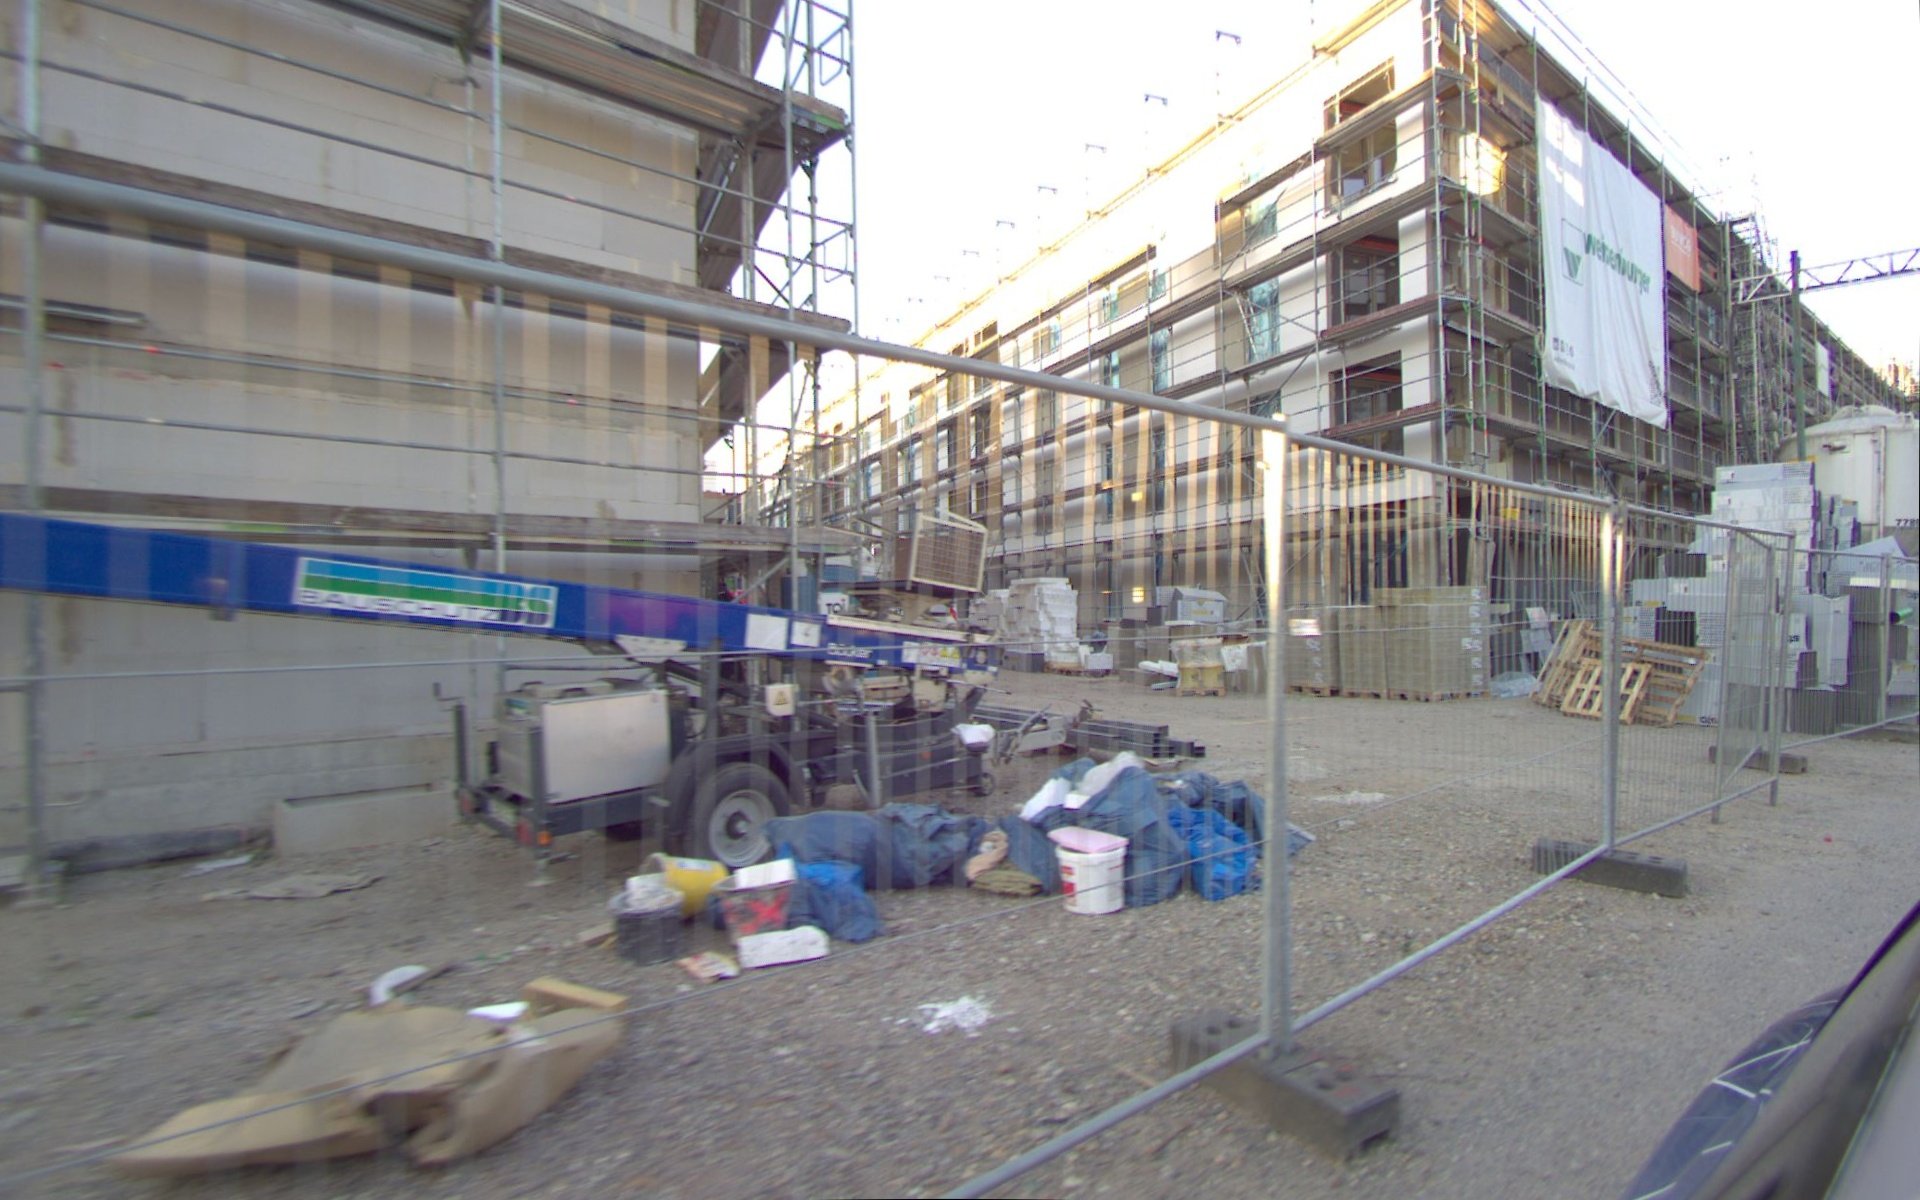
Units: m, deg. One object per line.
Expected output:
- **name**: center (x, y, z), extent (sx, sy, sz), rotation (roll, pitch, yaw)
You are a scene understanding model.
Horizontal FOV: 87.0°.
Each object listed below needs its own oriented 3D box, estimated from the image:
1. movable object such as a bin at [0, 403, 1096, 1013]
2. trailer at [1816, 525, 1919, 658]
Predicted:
- **movable object such as a bin**: center (-2.839, 0.387, 5.769), extent (8.216, 2.302, 2.070), rotation (-1, 0, -39)
- **trailer**: center (23.104, -0.218, 24.775), extent (6.132, 2.949, 2.577), rotation (-1, 0, -43)
